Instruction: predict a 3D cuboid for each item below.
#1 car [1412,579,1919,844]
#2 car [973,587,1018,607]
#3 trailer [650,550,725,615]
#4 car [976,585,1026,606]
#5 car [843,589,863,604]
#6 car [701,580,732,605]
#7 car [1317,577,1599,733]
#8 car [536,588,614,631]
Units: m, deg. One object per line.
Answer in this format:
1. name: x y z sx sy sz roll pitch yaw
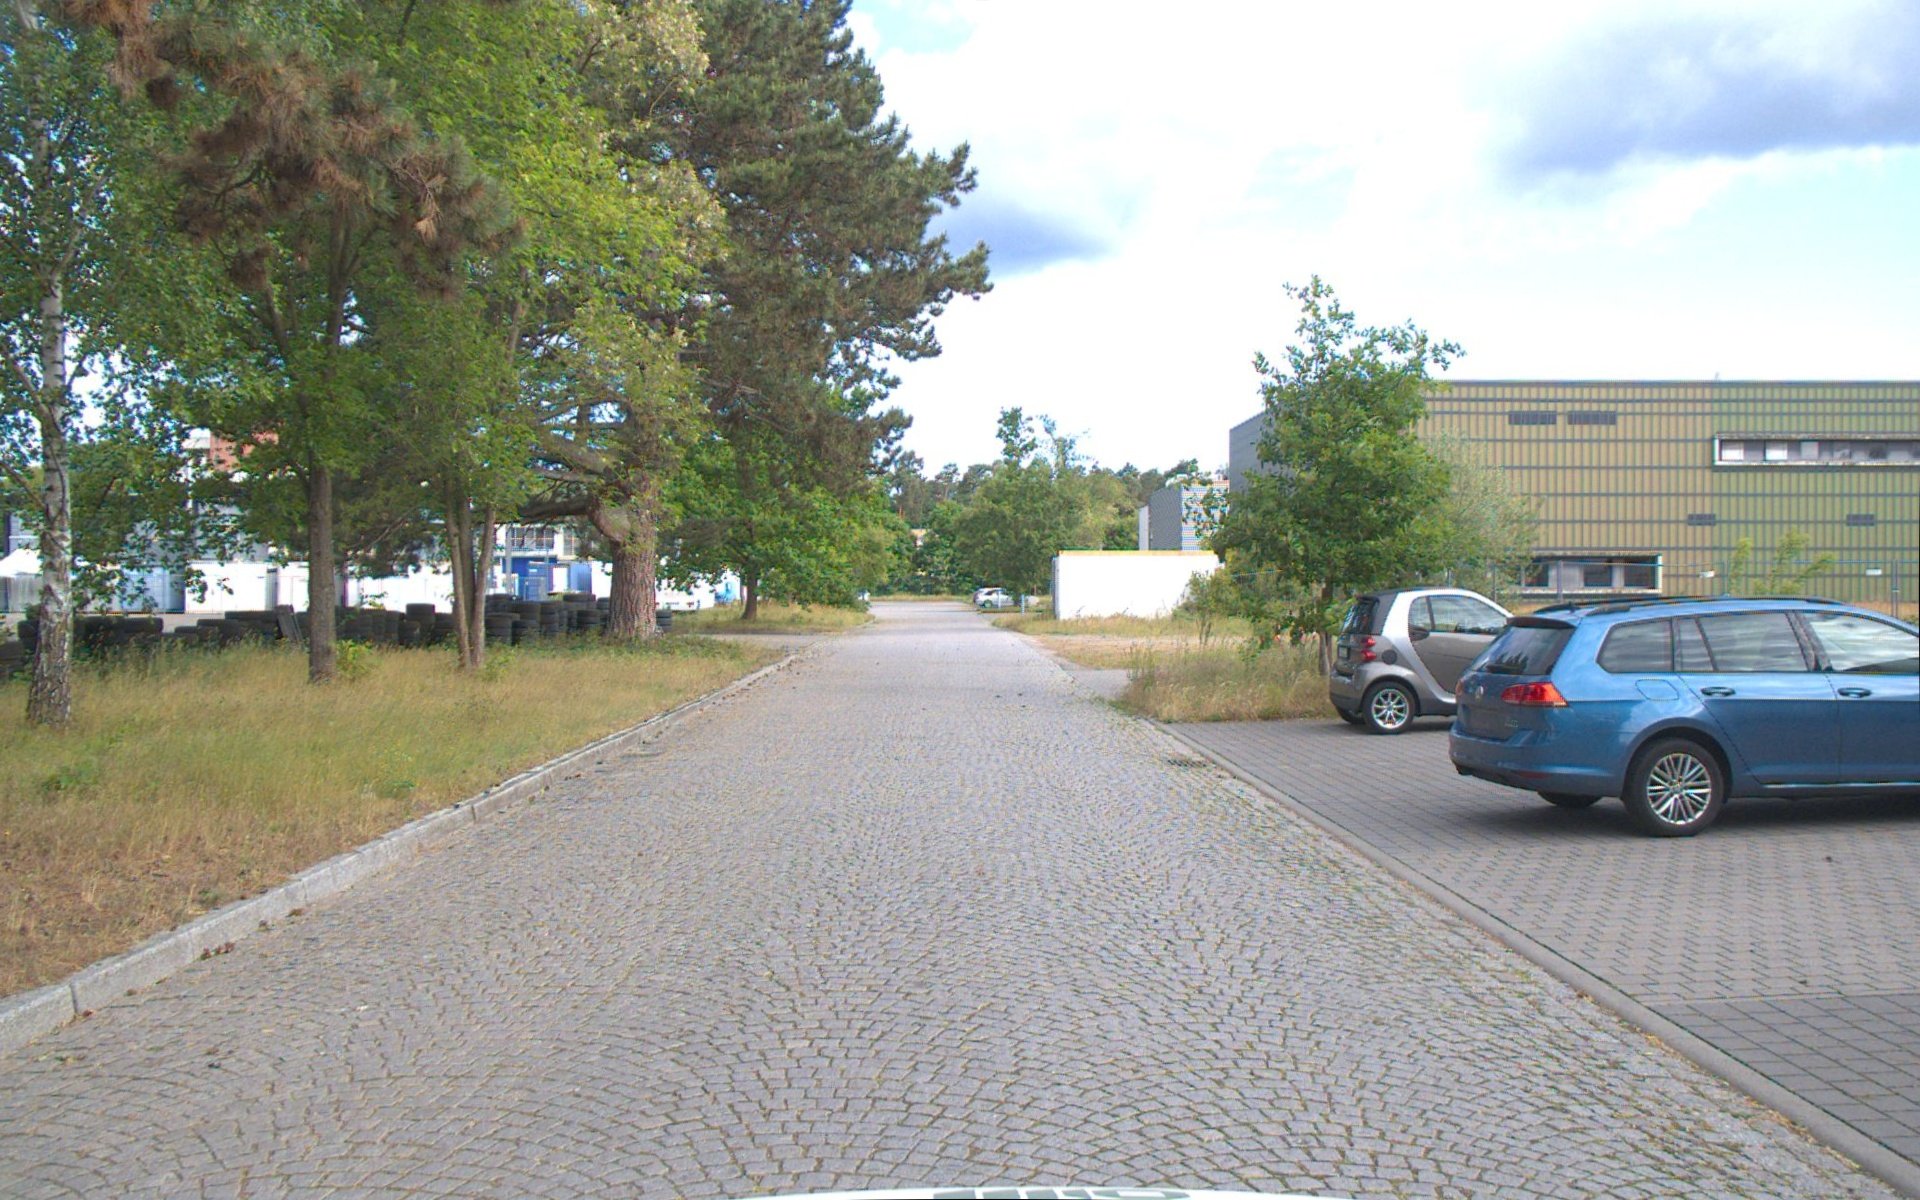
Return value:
1. car: 5.611 0.674 11.441 4.402 1.501 1.829 -3 0 -4
2. car: 2.769 -0.239 128.547 3.451 1.386 1.622 -2 0 -1
3. trailer: -16.016 -1.035 97.929 2.571 3.661 10.179 0 0 1
4. car: 3.258 -0.351 131.250 3.903 1.473 1.653 -2 0 -1
5. car: -9.708 -0.316 149.872 1.614 1.393 3.997 0 0 -1
6. car: -20.254 -0.638 137.644 1.953 2.049 4.767 0 0 0
7. car: 5.590 0.588 18.794 2.654 1.583 1.653 -2 0 0
8. car: -13.901 0.319 59.939 1.591 1.458 4.066 0 1 4
